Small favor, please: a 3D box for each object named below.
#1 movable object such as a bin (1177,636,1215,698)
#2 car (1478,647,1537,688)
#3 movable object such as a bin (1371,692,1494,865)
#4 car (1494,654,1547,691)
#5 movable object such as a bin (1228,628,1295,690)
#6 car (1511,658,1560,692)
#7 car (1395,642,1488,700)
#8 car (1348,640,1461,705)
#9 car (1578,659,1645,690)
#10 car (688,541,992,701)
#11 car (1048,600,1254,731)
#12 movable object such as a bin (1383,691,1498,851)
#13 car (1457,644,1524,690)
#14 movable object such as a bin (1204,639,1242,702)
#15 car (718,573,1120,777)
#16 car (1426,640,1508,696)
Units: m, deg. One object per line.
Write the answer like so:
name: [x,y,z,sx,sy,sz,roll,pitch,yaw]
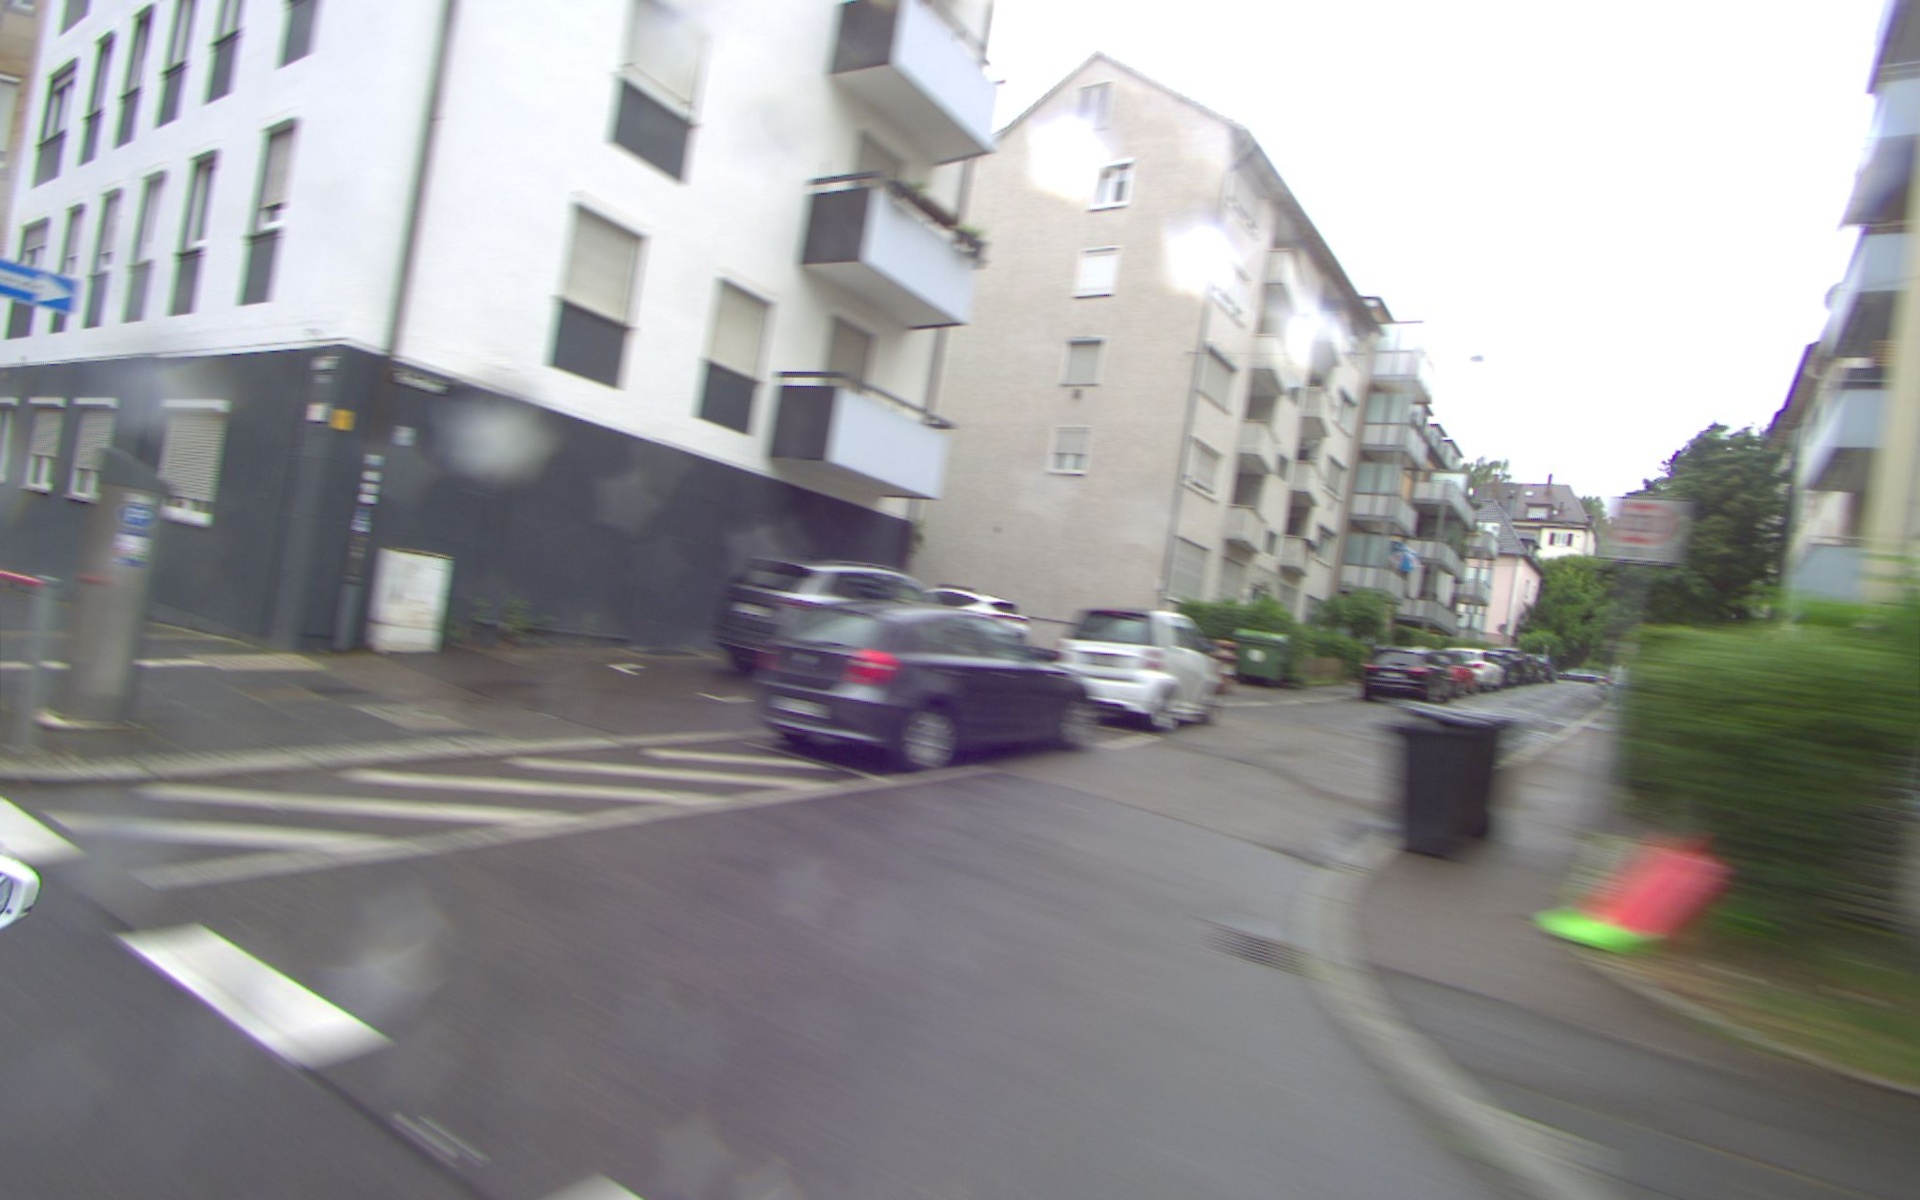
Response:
movable object such as a bin: [6.247,1.790,26.659,0.621,1.544,0.738,6,-2,31]
car: [24.920,3.090,45.704,1.790,1.564,4.052,6,-1,35]
movable object such as a bin: [3.707,1.365,7.886,0.721,1.194,0.601,5,-2,31]
car: [27.853,3.624,49.935,1.790,1.564,4.052,6,-1,35]
movable object such as a bin: [8.059,1.570,26.872,1.332,1.483,1.064,6,0,34]
car: [31.265,4.108,54.622,1.790,1.564,4.052,6,-1,35]
car: [15.679,2.332,32.658,1.969,1.525,4.052,6,-1,35]
car: [12.273,2.025,27.643,1.969,1.433,4.052,6,-1,35]
car: [46.003,5.263,71.079,3.635,1.648,1.830,6,-1,42]
car: [-1.495,0.372,13.876,1.713,1.712,3.987,10,1,37]
car: [2.878,0.962,14.432,1.444,1.520,3.991,5,-2,32]
movable object such as a bin: [4.035,1.405,8.441,0.724,1.187,0.594,5,-2,31]
car: [21.878,2.773,41.417,1.790,1.564,4.052,6,-1,35]
movable object such as a bin: [6.907,1.851,26.383,0.621,1.544,0.738,6,-2,31]
car: [-0.188,0.732,9.912,1.734,1.431,3.987,8,0,36]
car: [18.536,2.500,36.666,1.969,1.711,4.052,6,-1,35]
